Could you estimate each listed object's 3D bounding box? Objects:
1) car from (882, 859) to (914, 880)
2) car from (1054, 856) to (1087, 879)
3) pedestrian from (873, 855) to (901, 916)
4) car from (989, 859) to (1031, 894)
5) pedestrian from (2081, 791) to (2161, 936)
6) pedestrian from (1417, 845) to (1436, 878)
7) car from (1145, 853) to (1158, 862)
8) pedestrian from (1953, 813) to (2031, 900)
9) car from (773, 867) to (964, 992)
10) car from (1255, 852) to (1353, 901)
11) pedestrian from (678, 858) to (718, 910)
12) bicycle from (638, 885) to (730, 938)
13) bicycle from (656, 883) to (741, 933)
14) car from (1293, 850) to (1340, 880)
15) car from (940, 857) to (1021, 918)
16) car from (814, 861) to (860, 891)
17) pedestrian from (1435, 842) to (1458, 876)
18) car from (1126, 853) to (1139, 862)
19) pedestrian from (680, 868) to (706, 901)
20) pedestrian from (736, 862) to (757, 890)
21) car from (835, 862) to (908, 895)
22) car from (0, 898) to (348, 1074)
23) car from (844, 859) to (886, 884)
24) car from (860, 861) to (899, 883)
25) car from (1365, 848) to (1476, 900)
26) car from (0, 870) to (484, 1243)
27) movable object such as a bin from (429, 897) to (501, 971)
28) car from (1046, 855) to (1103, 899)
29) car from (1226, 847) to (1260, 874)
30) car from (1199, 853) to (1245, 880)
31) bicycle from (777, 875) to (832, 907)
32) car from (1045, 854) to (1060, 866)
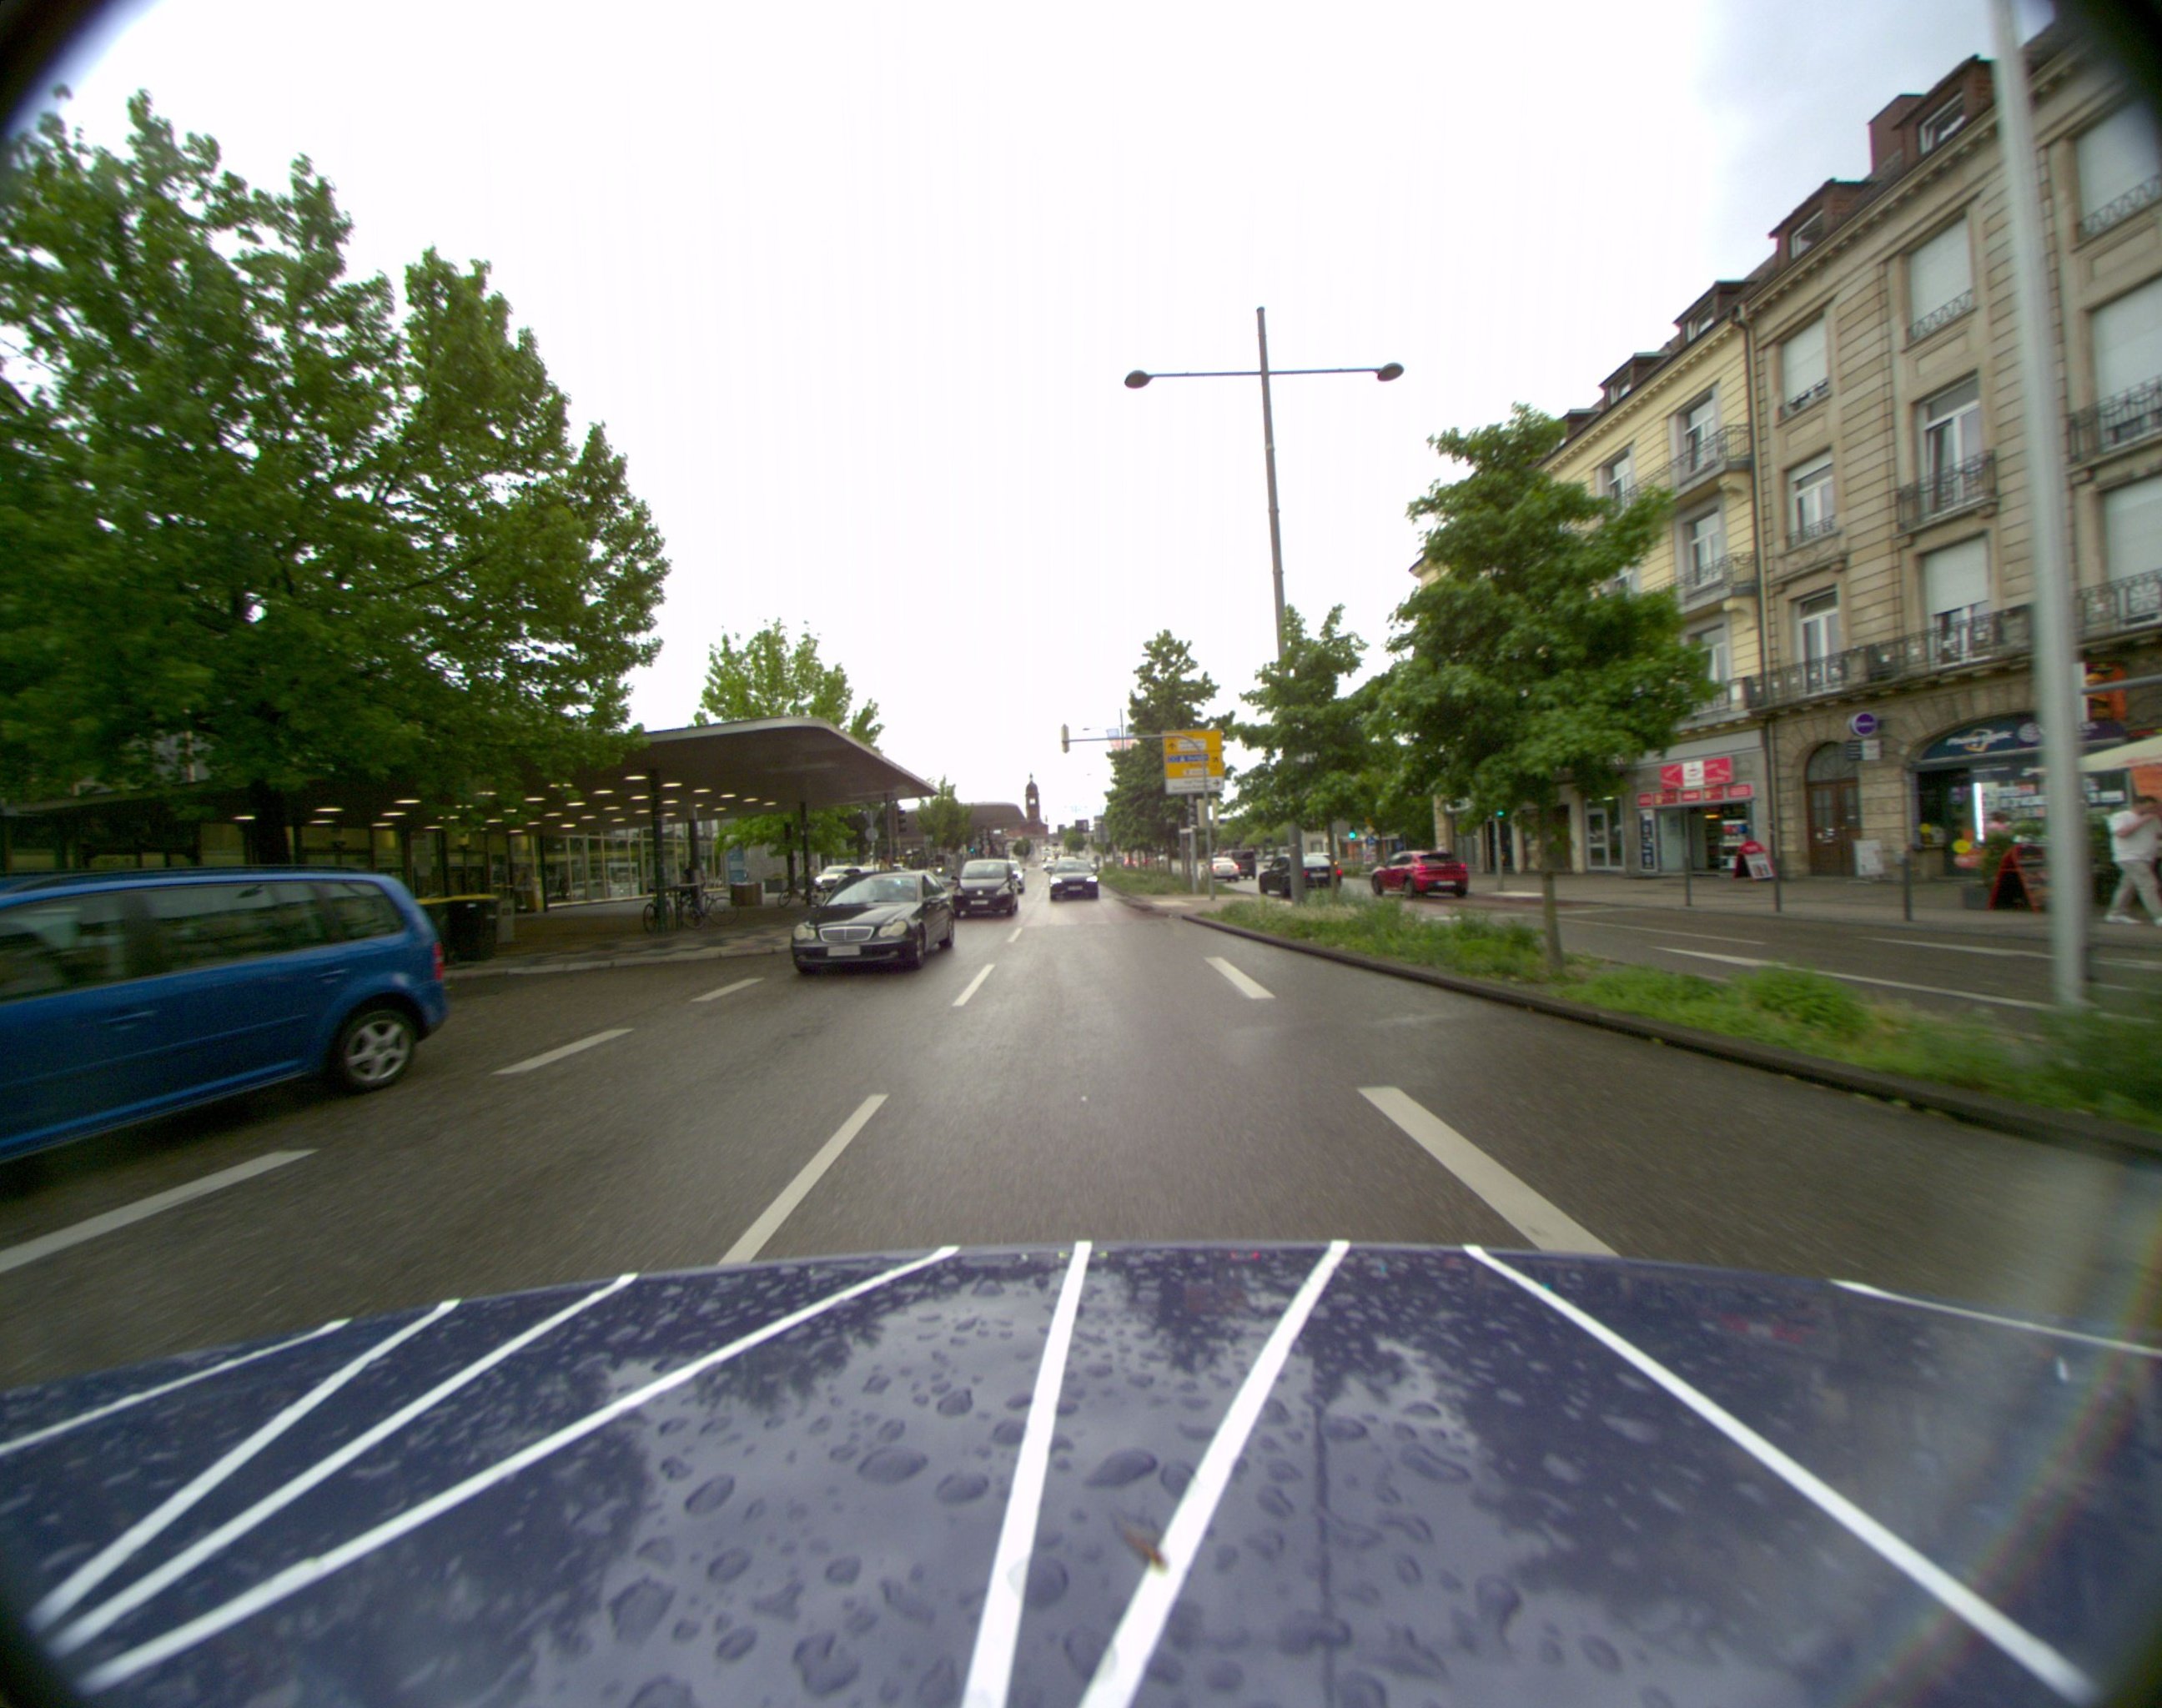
[{"bbox_3d":[-15.131,1.271,63.024,1.820,1.581,4.076,-2,0,-3],"label":"car"},{"bbox_3d":[-0.687,0.917,52.028,1.983,1.438,3.908,-1,1,2],"label":"car"},{"bbox_3d":[-5.717,0.919,22.404,0.560,1.741,0.700,-1,1,6],"label":"pedestrian"},{"bbox_3d":[-3.275,1.009,35.702,1.619,1.477,3.669,-2,0,0],"label":"car"},{"bbox_3d":[14.481,0.110,10.359,0.678,1.899,0.765,-2,1,0],"label":"pedestrian"},{"bbox_3d":[15.881,0.356,34.914,0.643,1.480,0.747,-3,0,18],"label":"pedestrian"},{"bbox_3d":[12.184,0.665,131.642,1.983,1.438,3.908,-2,0,2],"label":"car"},{"bbox_3d":[18.076,0.039,15.086,0.765,1.661,0.678,-2,2,-6],"label":"pedestrian"},{"bbox_3d":[-3.058,1.013,11.783,1.872,1.466,3.825,-2,0,-1],"label":"car"},{"bbox_3d":[7.517,0.683,26.152,1.847,1.455,5.029,-2,0,0],"label":"car"},{"bbox_3d":[-13.278,1.032,26.348,0.823,1.747,0.913,-2,1,6],"label":"pedestrian"},{"bbox_3d":[-8.983,1.274,17.234,1.723,1.040,0.523,-3,1,-41],"label":"bicycle"},{"bbox_3d":[-9.041,1.260,18.004,1.723,1.040,0.524,-2,1,-33],"label":"bicycle"},{"bbox_3d":[12.670,0.561,41.074,1.766,1.499,3.844,-2,0,8],"label":"car"},{"bbox_3d":[-2.734,0.867,21.461,1.872,1.466,3.825,-2,0,-2],"label":"car"},{"bbox_3d":[-14.194,1.257,44.451,1.821,1.546,4.461,-2,0,-9],"label":"car"},{"bbox_3d":[16.694,0.223,34.697,0.789,1.529,0.747,-3,0,18],"label":"pedestrian"},{"bbox_3d":[8.518,0.587,125.237,1.983,1.438,3.908,-2,0,2],"label":"car"},{"bbox_3d":[-18.213,1.410,35.685,0.762,1.502,0.852,-2,1,0],"label":"pedestrian"},{"bbox_3d":[-19.639,1.288,44.640,0.762,1.639,0.852,-2,1,0],"label":"pedestrian"},{"bbox_3d":[-10.607,1.199,38.267,1.824,1.482,4.148,-2,1,-42],"label":"car"},{"bbox_3d":[-10.255,1.280,7.483,3.934,1.391,1.776,-2,1,-21],"label":"car"},{"bbox_3d":[-14.601,1.149,51.539,1.820,1.482,4.169,-2,0,-3],"label":"car"},{"bbox_3d":[-14.935,1.286,56.447,1.820,1.482,4.463,-2,0,-3],"label":"car"},{"bbox_3d":[10.648,0.573,24.123,1.682,1.437,3.914,-2,1,-1],"label":"car"},{"bbox_3d":[-5.981,1.018,4.079,1.824,1.673,4.417,-2,0,3],"label":"car"},{"bbox_3d":[-9.956,1.281,12.302,0.691,1.101,0.548,-3,1,-14],"label":"movable object such as a bin"},{"bbox_3d":[-0.166,0.827,28.961,1.871,1.466,3.826,-2,0,3],"label":"car"},{"bbox_3d":[11.162,0.444,52.662,1.815,1.740,3.812,-2,0,5],"label":"car"},{"bbox_3d":[8.275,0.694,45.023,1.847,1.455,4.372,-2,0,0],"label":"car"},{"bbox_3d":[-9.623,1.294,26.476,1.720,1.040,0.524,-1,1,-10],"label":"bicycle"},{"bbox_3d":[-4.064,0.773,107.620,2.055,1.581,4.076,-2,1,-3],"label":"car"}]
